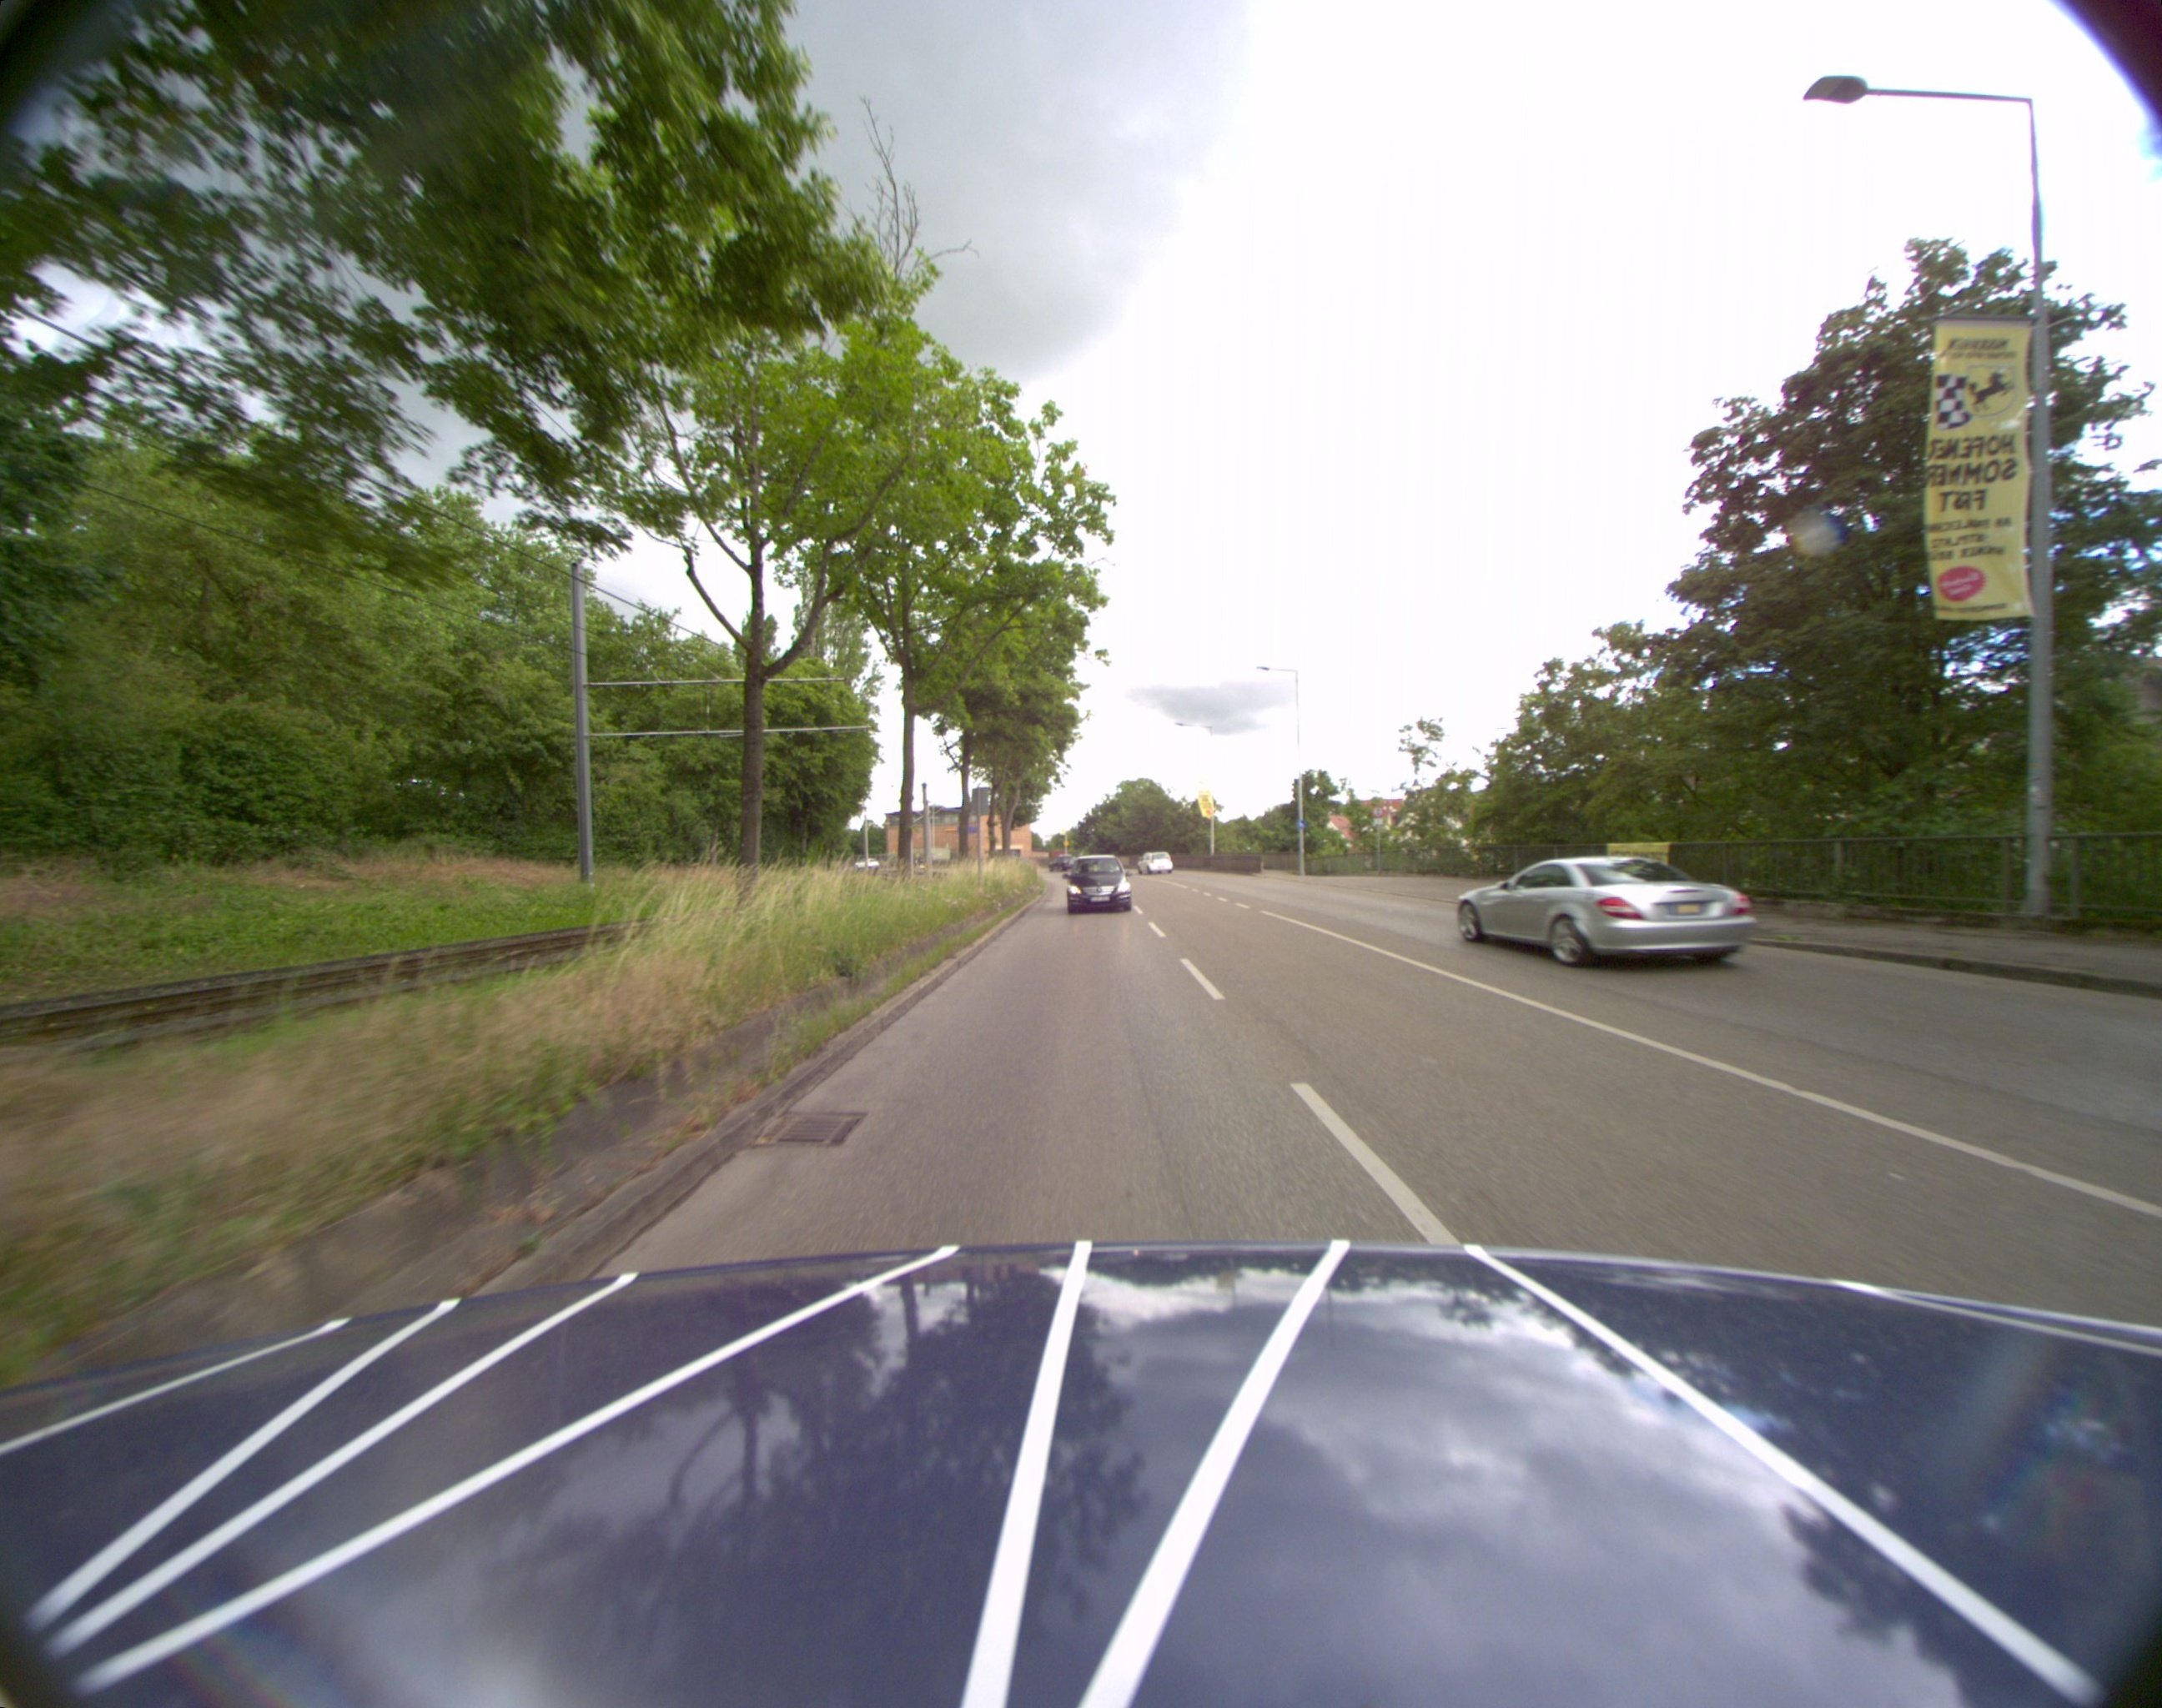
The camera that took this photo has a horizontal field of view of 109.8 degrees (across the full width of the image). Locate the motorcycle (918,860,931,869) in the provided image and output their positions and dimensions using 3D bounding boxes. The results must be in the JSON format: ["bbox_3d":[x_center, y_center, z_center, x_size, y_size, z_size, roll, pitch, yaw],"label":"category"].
[{"bbox_3d":[-20.709,1.392,100.520,1.715,1.055,0.686,-2,1,39],"label":"motorcycle"}]

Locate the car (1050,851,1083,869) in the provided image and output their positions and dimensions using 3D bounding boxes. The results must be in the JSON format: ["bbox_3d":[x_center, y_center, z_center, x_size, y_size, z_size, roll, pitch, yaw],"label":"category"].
[{"bbox_3d":[-1.436,0.626,72.738,1.727,1.598,4.006,-3,0,-23],"label":"car"}]

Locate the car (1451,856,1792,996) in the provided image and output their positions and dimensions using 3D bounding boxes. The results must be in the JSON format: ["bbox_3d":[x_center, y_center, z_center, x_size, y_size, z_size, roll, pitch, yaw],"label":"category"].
[{"bbox_3d":[6.531,0.760,9.765,1.762,1.329,3.696,-4,0,2],"label":"car"}]

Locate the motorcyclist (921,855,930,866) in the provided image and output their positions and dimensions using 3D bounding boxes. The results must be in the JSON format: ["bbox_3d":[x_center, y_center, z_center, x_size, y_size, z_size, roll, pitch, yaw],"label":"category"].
[{"bbox_3d":[-20.548,0.867,100.341,0.838,1.348,0.622,-1,1,39],"label":"motorcyclist"}]

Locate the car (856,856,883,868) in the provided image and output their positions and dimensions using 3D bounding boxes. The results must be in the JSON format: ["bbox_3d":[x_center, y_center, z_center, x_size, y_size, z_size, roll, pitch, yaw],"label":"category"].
[{"bbox_3d":[-30.195,1.125,108.532,3.645,1.478,1.756,-3,1,38],"label":"car"}]

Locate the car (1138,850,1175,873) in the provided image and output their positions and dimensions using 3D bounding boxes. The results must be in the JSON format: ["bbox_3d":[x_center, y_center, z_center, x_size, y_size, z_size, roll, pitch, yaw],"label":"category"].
[{"bbox_3d":[5.203,0.536,52.869,1.586,1.457,3.693,-3,0,-10],"label":"car"}]

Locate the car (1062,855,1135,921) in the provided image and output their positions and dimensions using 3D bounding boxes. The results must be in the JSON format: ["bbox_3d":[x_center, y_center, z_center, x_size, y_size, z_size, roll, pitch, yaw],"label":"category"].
[{"bbox_3d":[0.396,0.865,21.505,1.751,1.556,4.073,-4,1,-2],"label":"car"}]

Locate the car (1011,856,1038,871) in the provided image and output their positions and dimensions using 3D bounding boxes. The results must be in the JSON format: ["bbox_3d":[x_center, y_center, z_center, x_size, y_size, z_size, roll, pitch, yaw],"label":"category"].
[{"bbox_3d":[-6.156,1.049,82.958,1.587,1.477,3.689,-4,0,-26],"label":"car"}]
